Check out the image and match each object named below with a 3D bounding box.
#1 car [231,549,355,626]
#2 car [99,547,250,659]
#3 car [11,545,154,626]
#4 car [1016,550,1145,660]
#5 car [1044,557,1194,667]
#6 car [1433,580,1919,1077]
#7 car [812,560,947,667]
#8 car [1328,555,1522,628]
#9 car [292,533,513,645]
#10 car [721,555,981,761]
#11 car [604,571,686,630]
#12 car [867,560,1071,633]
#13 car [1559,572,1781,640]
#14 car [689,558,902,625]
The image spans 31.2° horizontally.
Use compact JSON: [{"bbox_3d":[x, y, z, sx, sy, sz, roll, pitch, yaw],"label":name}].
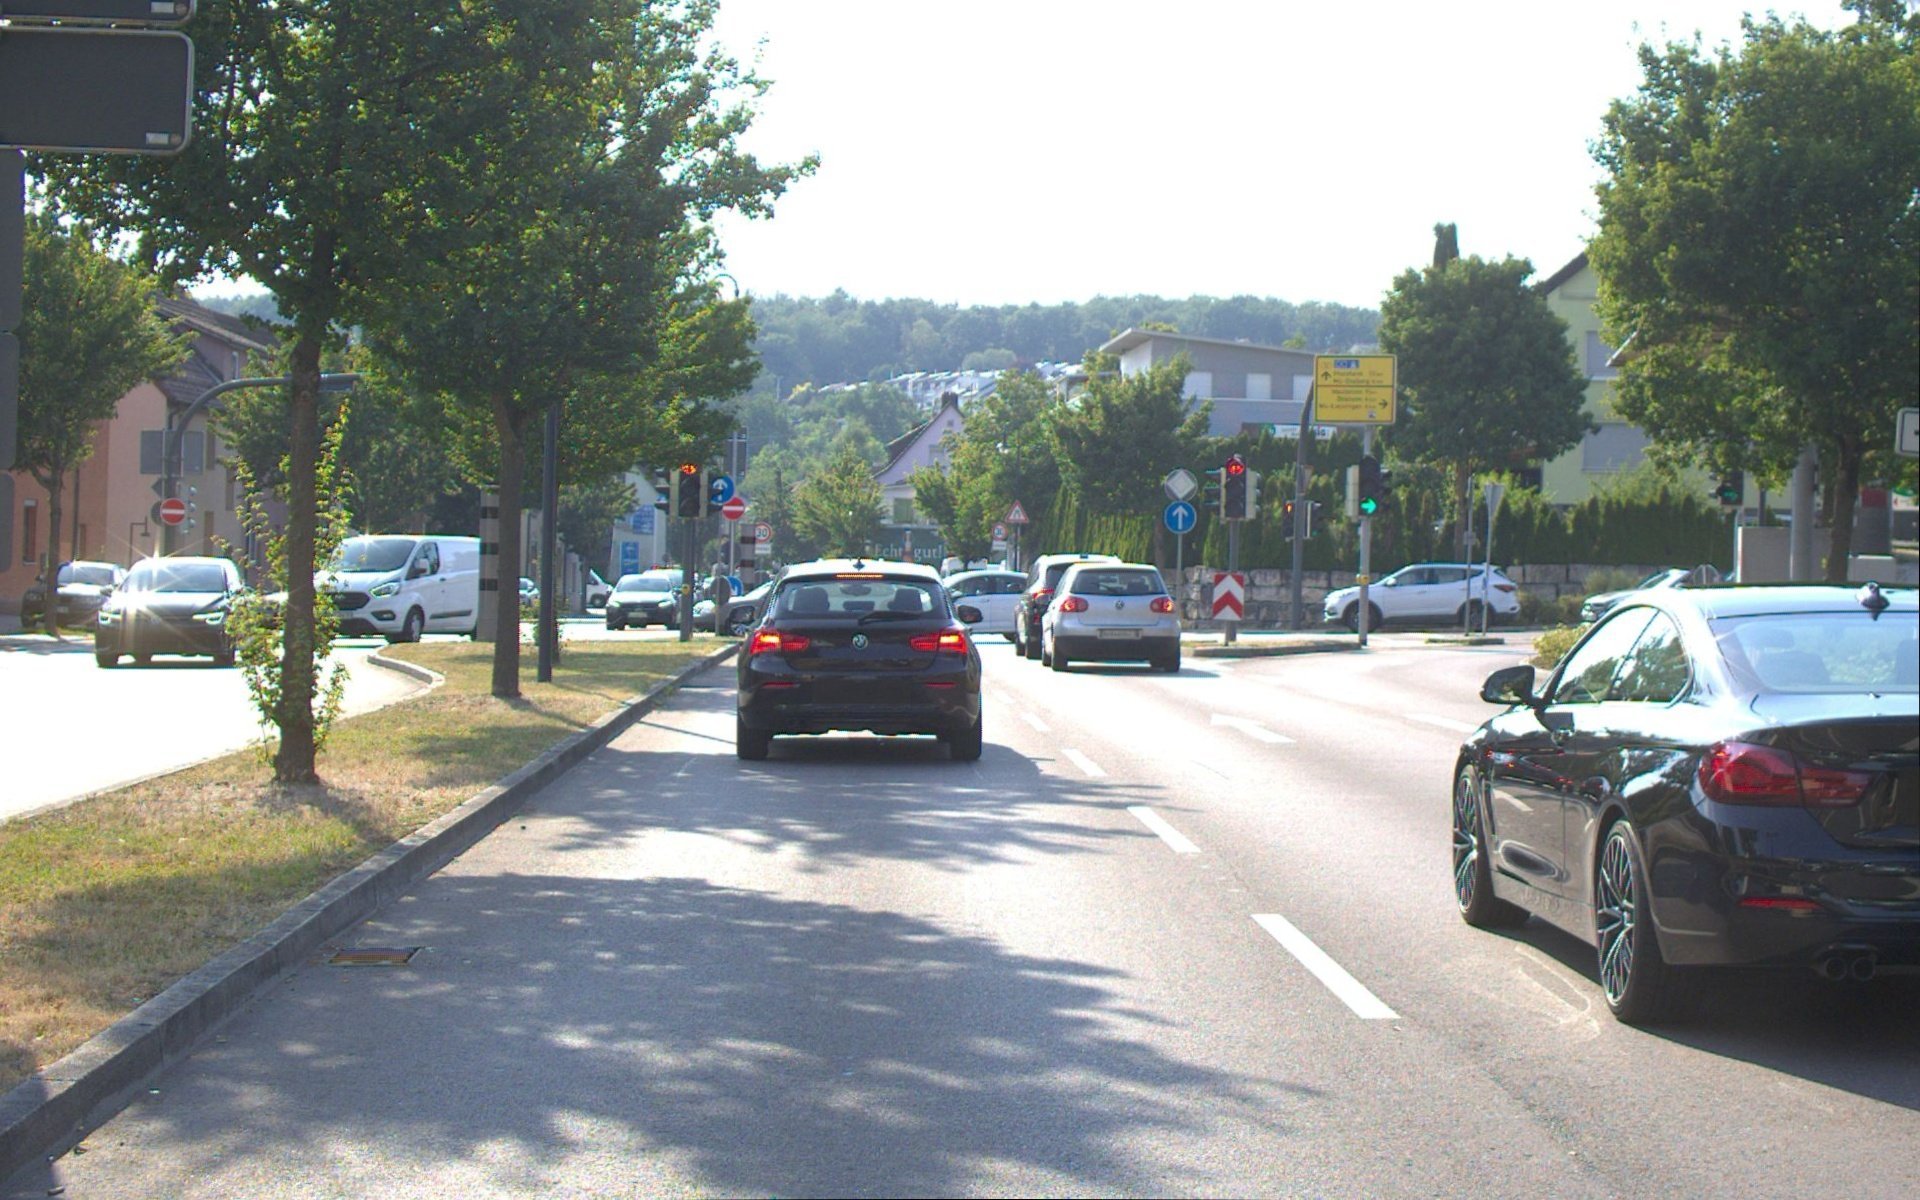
[{"bbox_3d":[-13.541,-0.267,70.036,1.807,1.492,4.246,1,1,-2],"label":"car"},{"bbox_3d":[-10.640,0.021,46.778,1.768,1.446,4.109,1,1,-10],"label":"car"},{"bbox_3d":[-18.232,-0.310,71.623,1.843,1.546,4.000,3,1,1],"label":"car"},{"bbox_3d":[1.874,0.049,54.626,1.816,1.660,4.347,1,1,-1],"label":"car"},{"bbox_3d":[2.156,0.139,47.744,1.816,1.441,4.347,1,1,-1],"label":"car"},{"bbox_3d":[2.881,0.642,11.943,1.816,1.384,4.347,1,1,-1],"label":"car"},{"bbox_3d":[-1.122,0.163,48.939,1.816,1.446,4.242,1,1,-1],"label":"car"},{"bbox_3d":[11.139,-0.218,82.545,4.509,1.696,1.896,0,0,5],"label":"car"},{"bbox_3d":[-9.923,-0.214,61.567,1.824,1.917,4.940,1,1,18],"label":"car"},{"bbox_3d":[-0.781,0.382,26.077,1.790,1.410,4.347,1,1,-1],"label":"car"},{"bbox_3d":[-8.154,-0.001,89.301,1.766,1.453,4.000,1,1,0],"label":"car"},{"bbox_3d":[0.177,-0.069,73.029,3.941,1.492,1.807,1,1,-19],"label":"car"},{"bbox_3d":[15.780,0.135,76.493,4.462,1.344,1.787,1,4,-11],"label":"car"},{"bbox_3d":[-3.778,-0.196,78.706,4.695,1.457,1.692,0,1,-10],"label":"car"}]
